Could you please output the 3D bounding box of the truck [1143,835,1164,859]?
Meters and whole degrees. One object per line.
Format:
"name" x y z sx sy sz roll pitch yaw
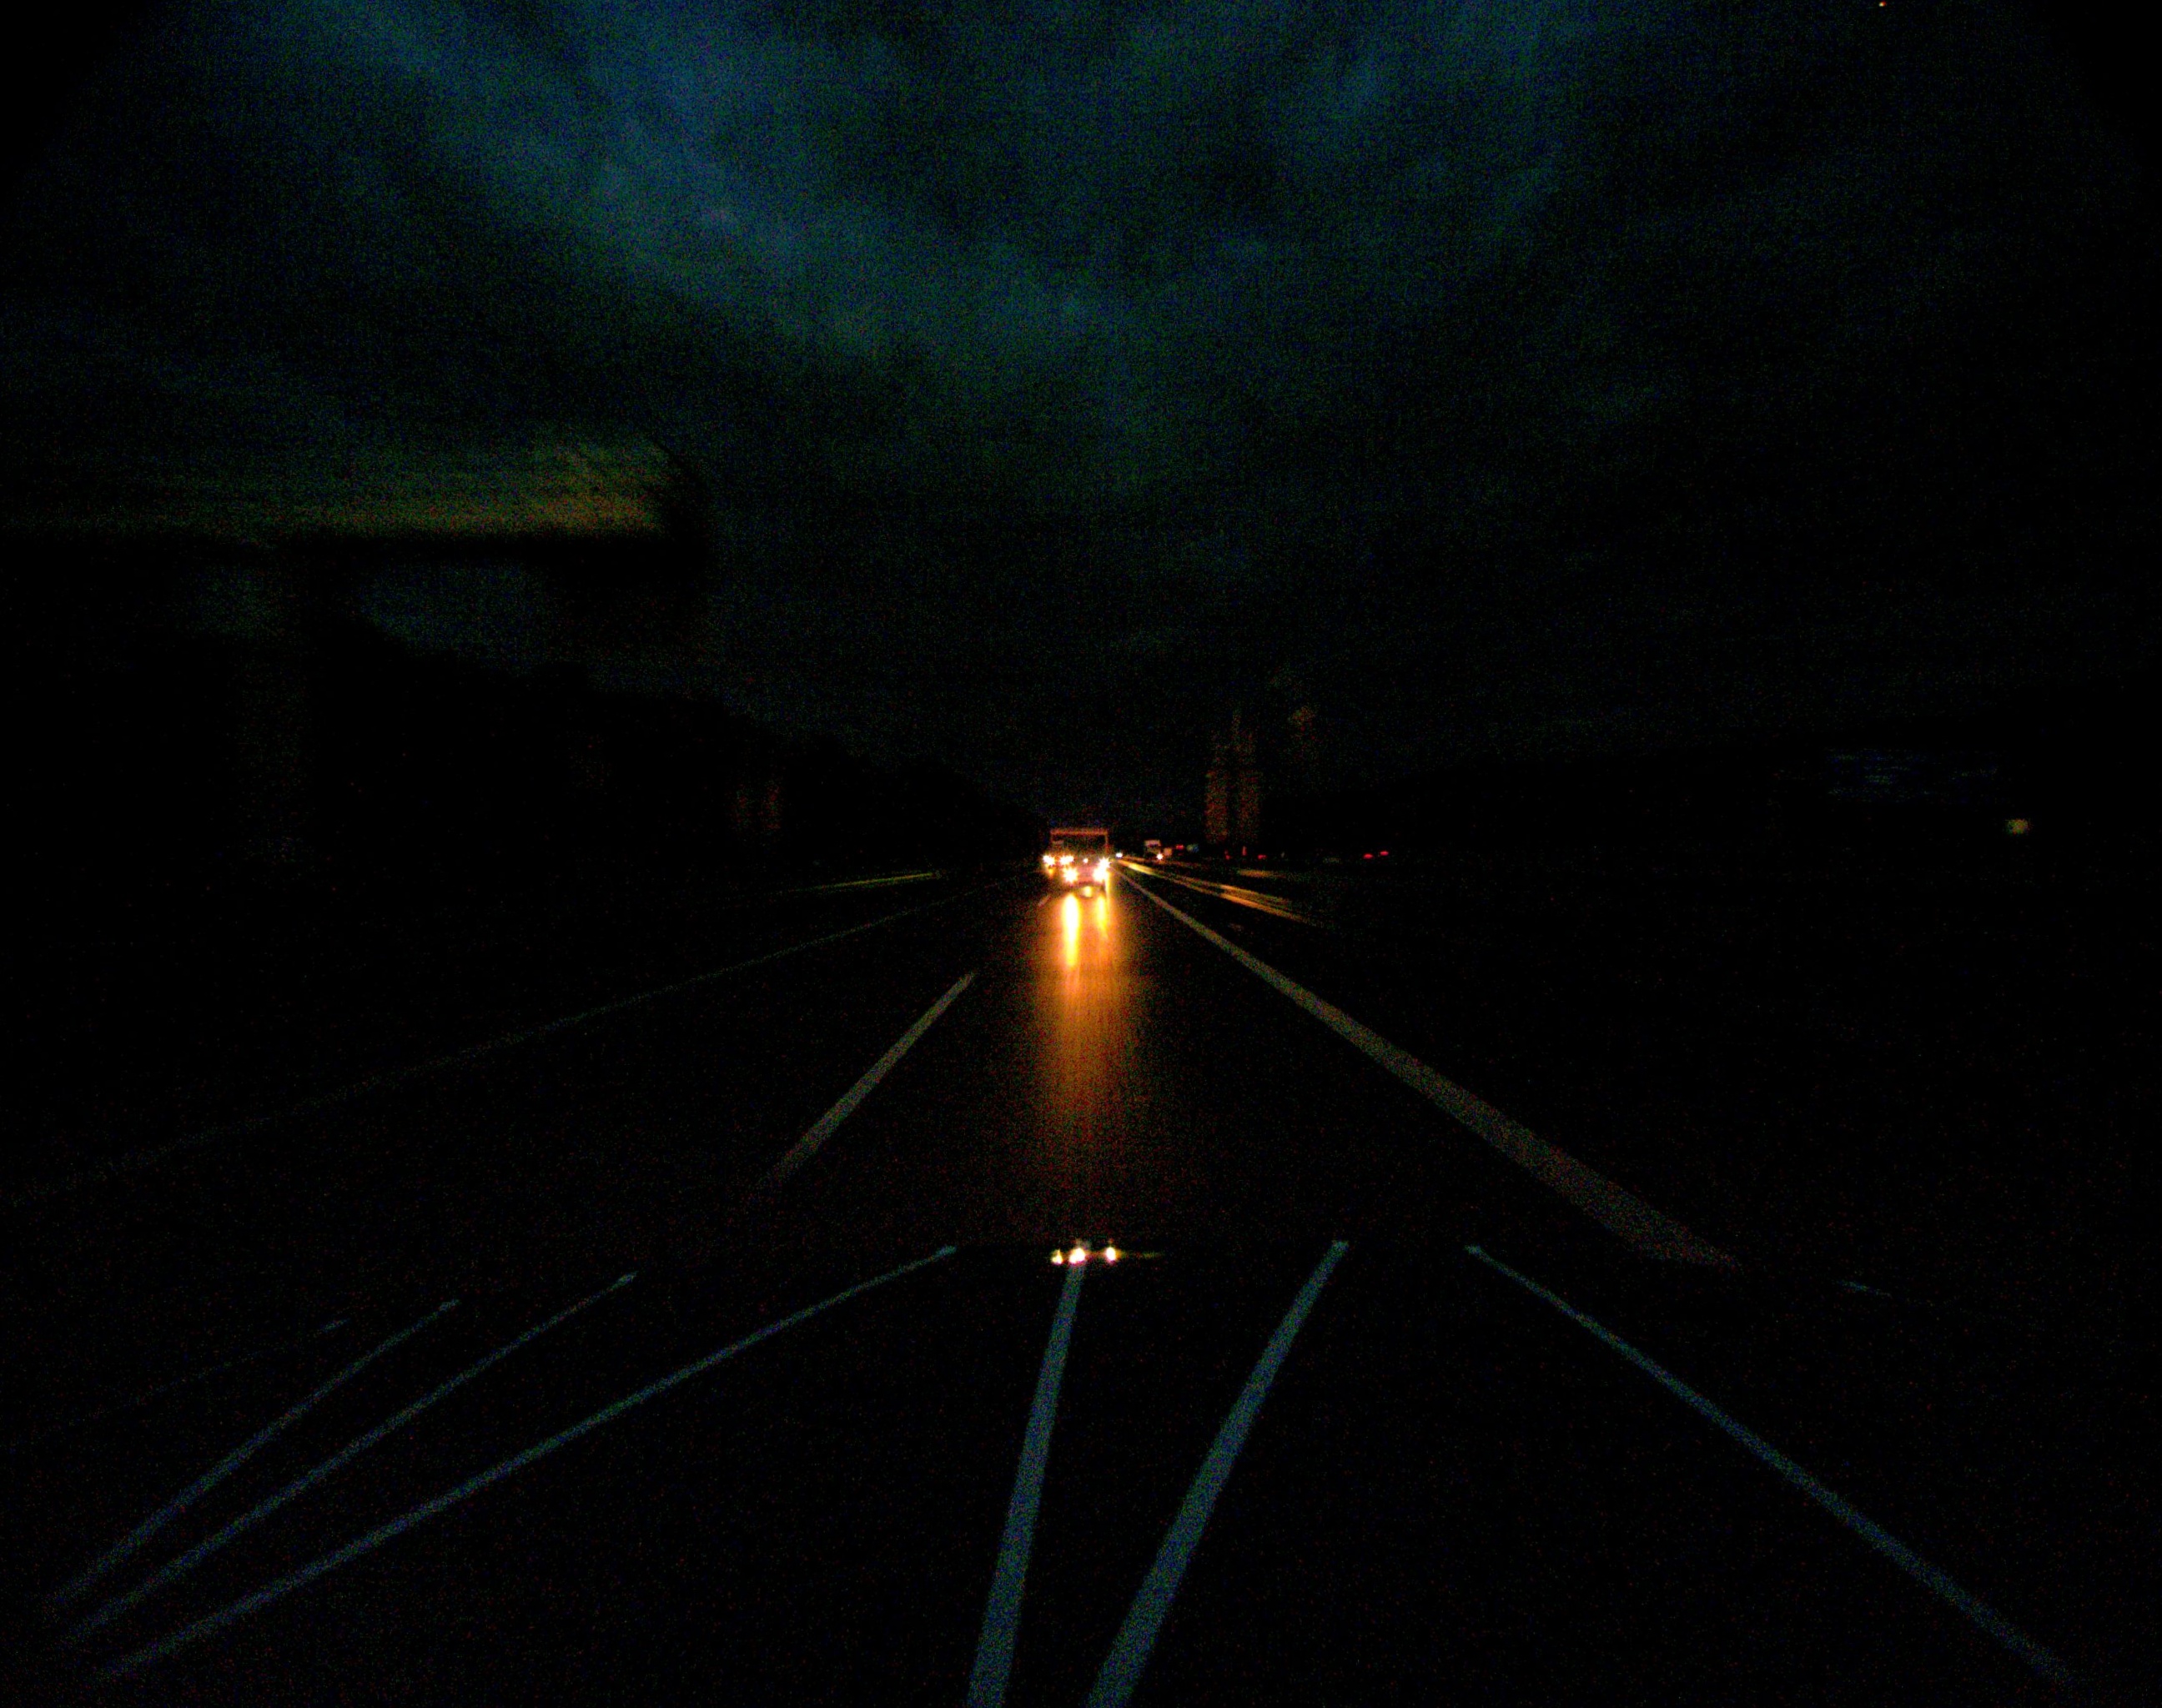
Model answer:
"truck" 13.648 -1.295 142.952 3.046 4.276 9.890 1 1 1

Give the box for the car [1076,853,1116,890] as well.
"car" 0.657 0.733 33.616 1.669 1.551 3.757 0 0 1

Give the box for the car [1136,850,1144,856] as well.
"car" 15.520 -0.255 200.192 1.833 1.674 4.229 -1 0 1

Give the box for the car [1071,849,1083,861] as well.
"car" -0.695 0.155 138.348 1.999 2.002 3.999 0 1 -2

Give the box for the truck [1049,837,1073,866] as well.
"truck" -2.128 -0.245 83.872 2.274 2.954 6.631 -2 0 1
